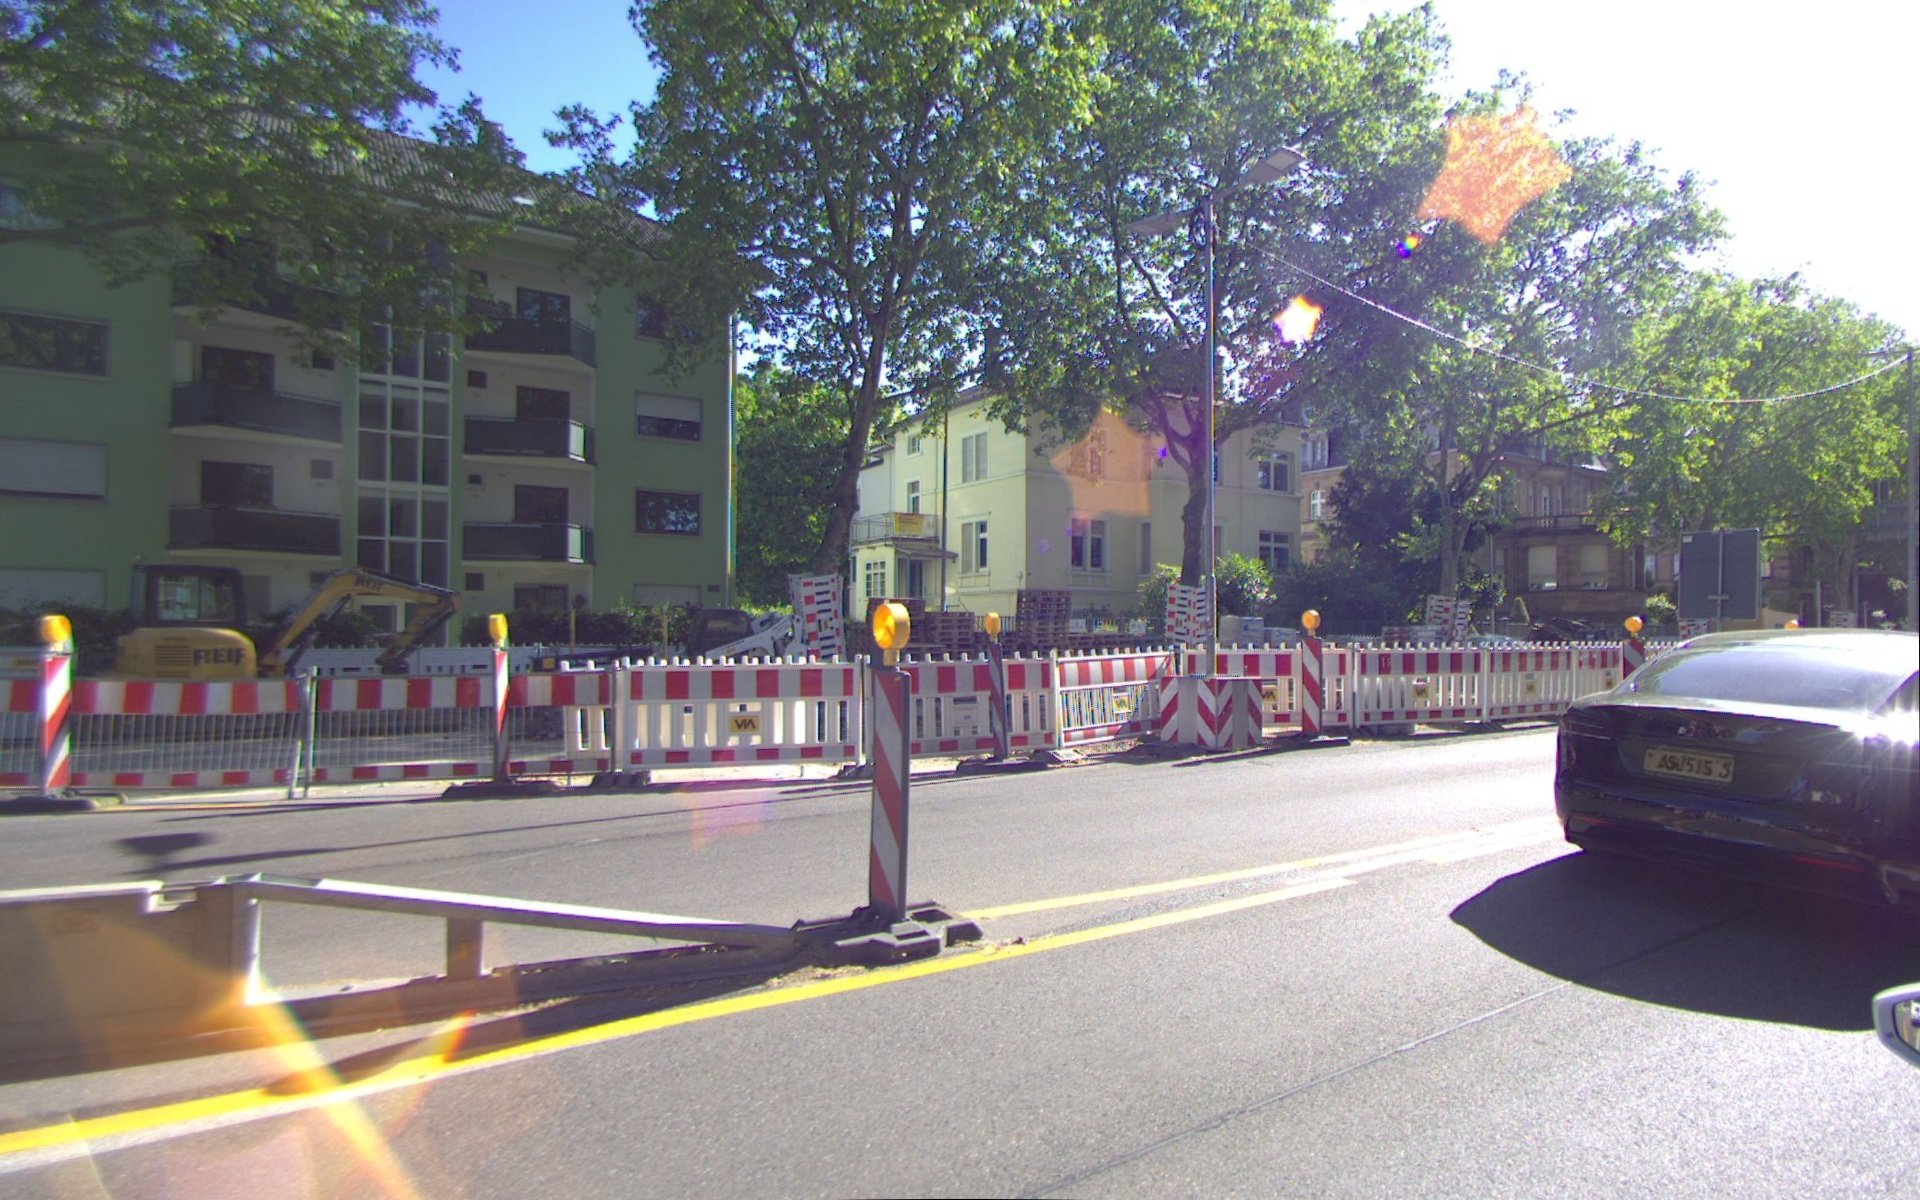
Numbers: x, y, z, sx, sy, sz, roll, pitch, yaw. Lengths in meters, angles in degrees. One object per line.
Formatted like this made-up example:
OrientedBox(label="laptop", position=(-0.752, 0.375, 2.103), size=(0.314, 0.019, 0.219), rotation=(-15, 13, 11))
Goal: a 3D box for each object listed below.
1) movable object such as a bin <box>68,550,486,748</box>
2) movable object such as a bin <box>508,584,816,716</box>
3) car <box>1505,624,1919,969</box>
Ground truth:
OrientedBox(label="movable object such as a bin", position=(-10.818, 0.737, 16.361), size=(5.304, 2.742, 2.131), rotation=(1, -1, -37))
OrientedBox(label="movable object such as a bin", position=(-5.794, 0.953, 19.852), size=(5.534, 2.308, 1.984), rotation=(1, -2, -31))
OrientedBox(label="car", position=(5.556, 0.884, 6.219), size=(4.576, 1.430, 1.914), rotation=(1, 0, -33))
